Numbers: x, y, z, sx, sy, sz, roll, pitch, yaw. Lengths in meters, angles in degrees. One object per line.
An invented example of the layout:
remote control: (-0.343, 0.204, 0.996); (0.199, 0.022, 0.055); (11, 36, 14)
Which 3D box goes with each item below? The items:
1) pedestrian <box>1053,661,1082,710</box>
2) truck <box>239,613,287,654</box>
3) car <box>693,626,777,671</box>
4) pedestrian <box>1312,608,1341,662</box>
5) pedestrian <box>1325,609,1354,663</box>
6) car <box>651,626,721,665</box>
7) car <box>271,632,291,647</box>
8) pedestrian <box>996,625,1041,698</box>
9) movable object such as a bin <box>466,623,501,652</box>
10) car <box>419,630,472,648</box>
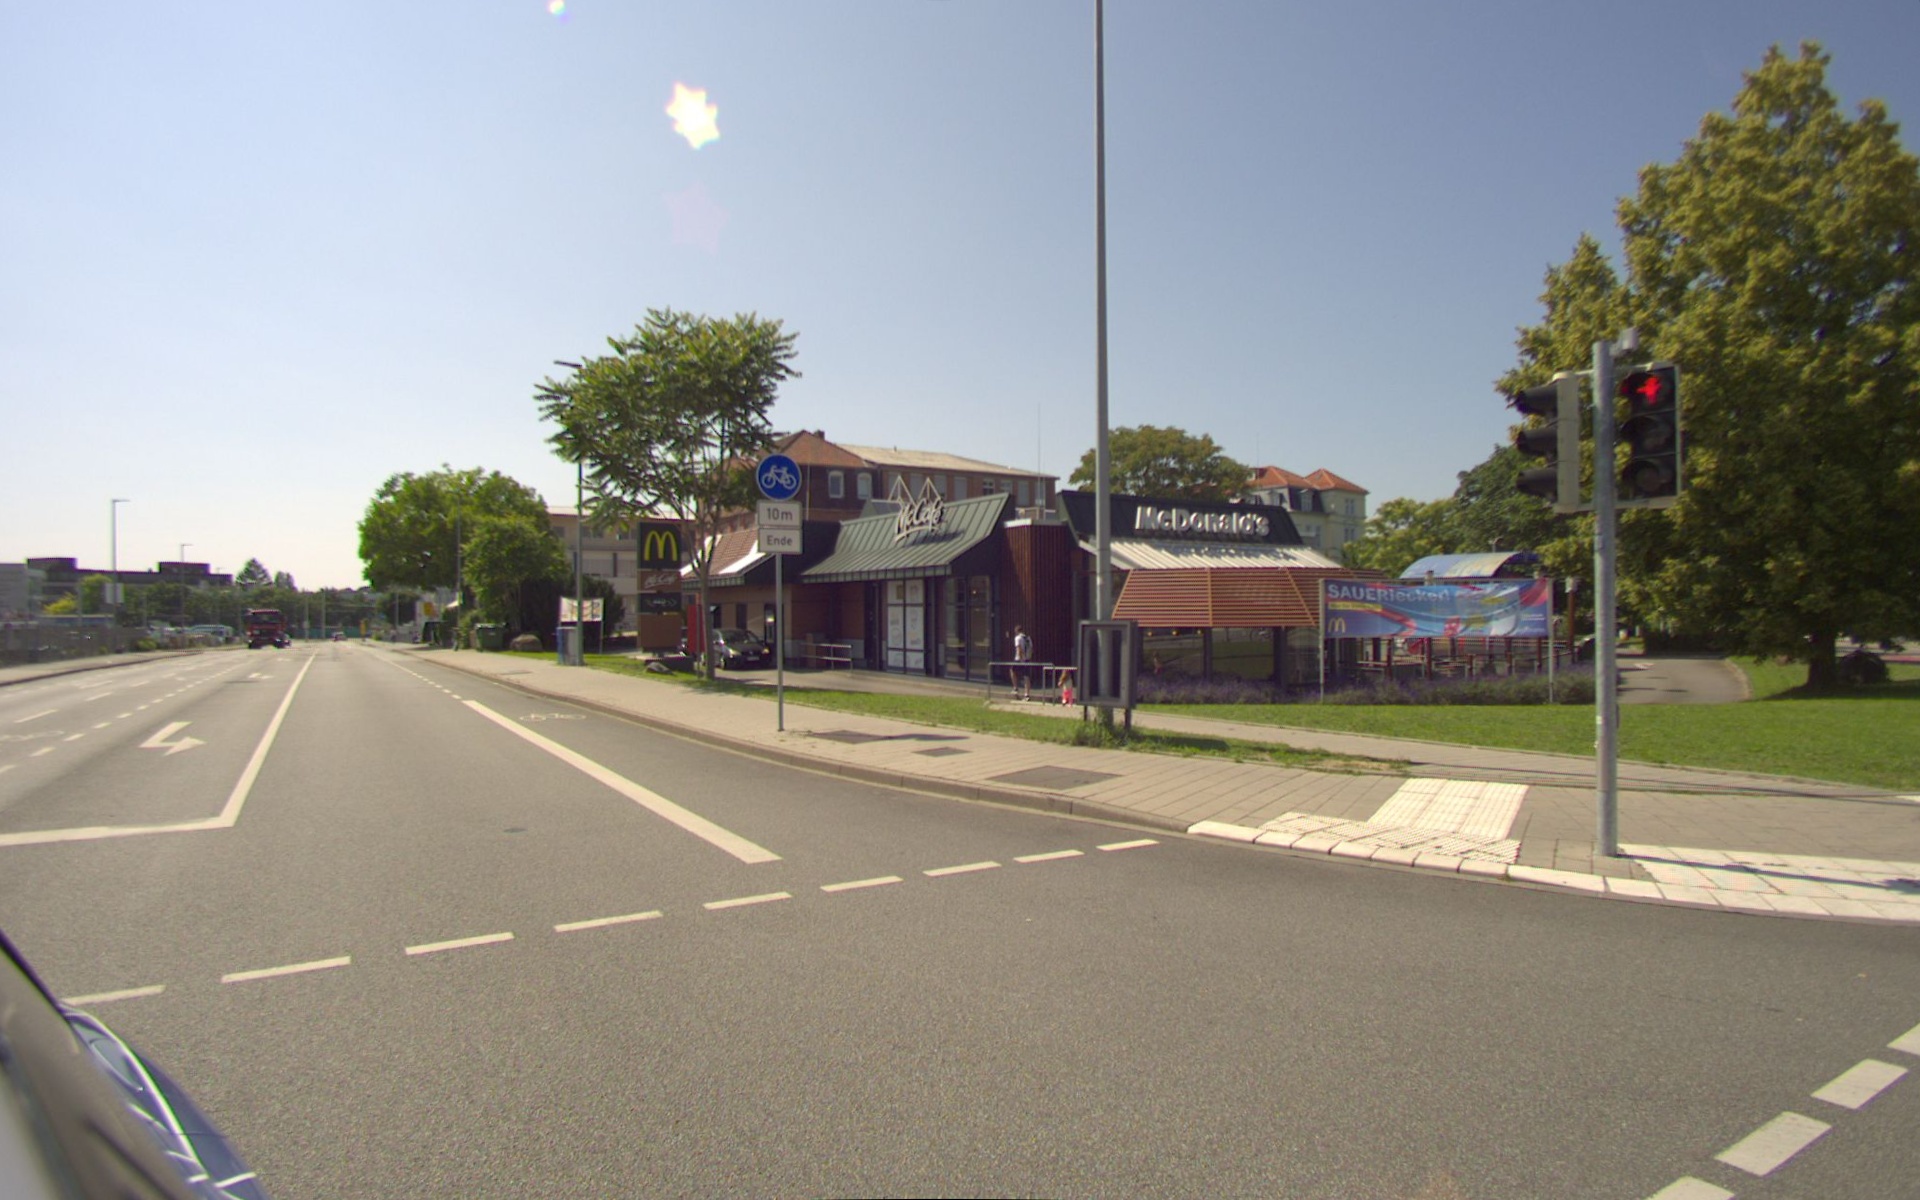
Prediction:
pedestrian: (2.318, 1.839, 21.878); (0.375, 1.005, 0.511); (0, -1, -36)
truck: (-62.340, 2.906, 90.633); (3.259, 3.412, 9.193); (0, -1, -33)
car: (-8.425, 1.757, 37.690); (1.834, 1.564, 4.200); (0, -1, -31)
pedestrian: (13.875, 1.318, 38.331); (0.833, 2.029, 0.744); (-2, -1, 35)
pedestrian: (14.595, 1.373, 38.917); (0.833, 2.029, 0.744); (-2, -1, 35)
car: (-11.834, 1.902, 43.466); (1.834, 1.564, 4.200); (0, -1, -31)
car: (-80.004, 4.685, 119.188); (1.805, 1.674, 4.009); (0, -1, -36)
pedestrian: (1.447, 1.499, 25.065); (0.628, 1.771, 0.893); (0, -2, -43)
movable object such as a bin: (-24.282, 1.880, 51.613); (1.444, 1.422, 1.460); (0, -1, -32)
car: (-42.447, 3.208, 83.499); (3.840, 1.409, 1.657); (0, -1, -28)
